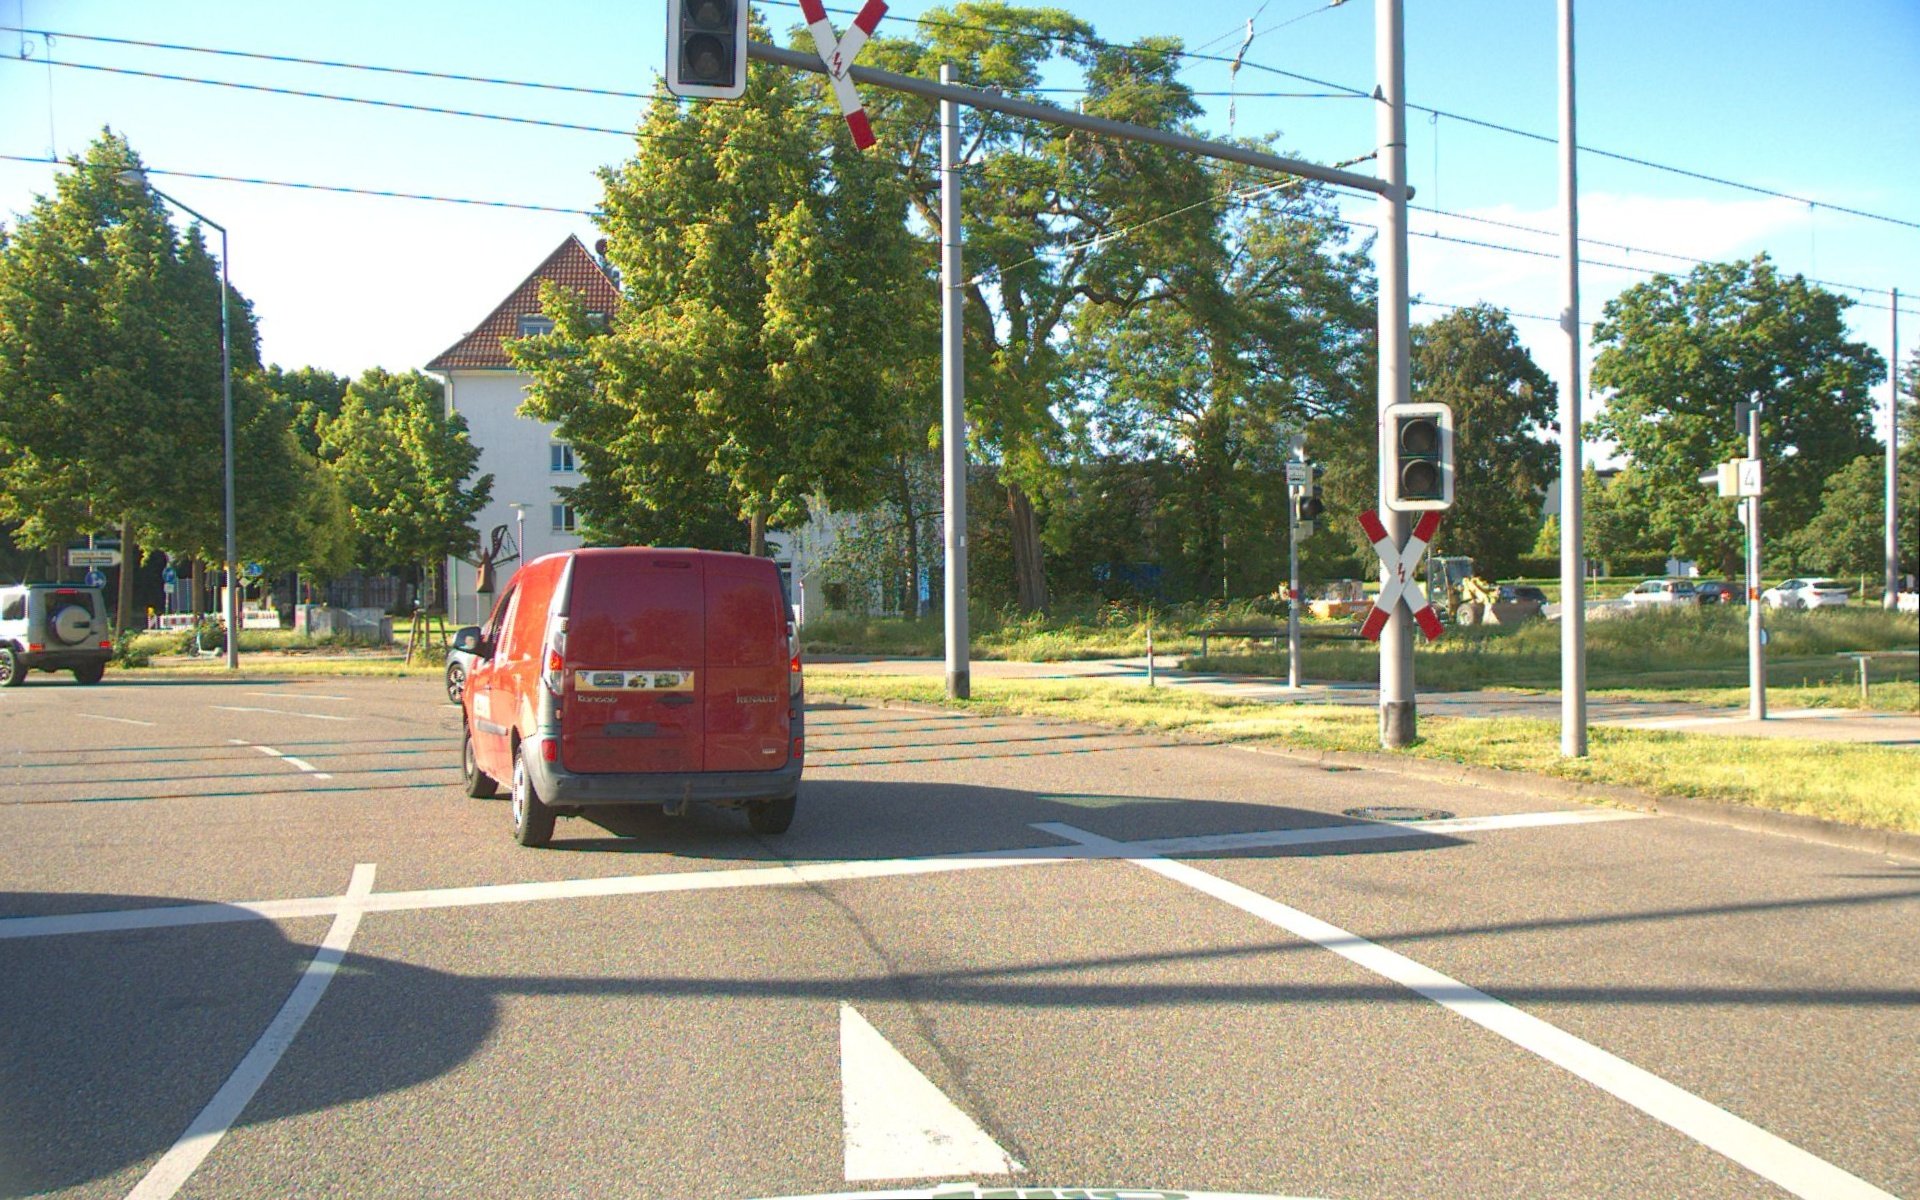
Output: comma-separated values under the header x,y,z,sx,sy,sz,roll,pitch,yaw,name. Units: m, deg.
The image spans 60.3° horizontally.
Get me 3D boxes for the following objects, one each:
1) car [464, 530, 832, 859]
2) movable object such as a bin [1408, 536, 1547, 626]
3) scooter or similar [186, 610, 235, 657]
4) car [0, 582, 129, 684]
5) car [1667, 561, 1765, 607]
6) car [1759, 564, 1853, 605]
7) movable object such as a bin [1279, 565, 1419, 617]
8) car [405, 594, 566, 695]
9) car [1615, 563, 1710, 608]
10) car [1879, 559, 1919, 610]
x,y,z,sx,sy,sz,roll,pitch,yaw,name
-2.306,0.527,11.384,1.778,1.845,3.784,1,0,-22,car
17.296,-0.560,55.559,1.962,2.838,5.023,0,-1,-17,movable object such as a bin
-20.820,0.924,45.948,1.234,1.270,0.445,-2,-2,16,scooter or similar
-19.016,0.666,33.661,4.661,1.930,1.994,-1,0,38,car
31.759,-0.635,69.637,1.955,1.800,3.994,0,-1,-7,car
35.756,-0.632,70.007,1.792,1.583,3.802,0,-1,-5,car
15.307,-0.327,65.175,4.922,1.982,2.231,0,-1,-15,movable object such as a bin
-7.588,0.679,26.187,1.694,1.461,4.114,0,-1,-27,car
29.601,-0.597,69.857,1.955,1.753,3.994,0,-1,-7,car
41.430,-0.673,70.506,1.955,2.136,3.994,0,-1,-7,car
